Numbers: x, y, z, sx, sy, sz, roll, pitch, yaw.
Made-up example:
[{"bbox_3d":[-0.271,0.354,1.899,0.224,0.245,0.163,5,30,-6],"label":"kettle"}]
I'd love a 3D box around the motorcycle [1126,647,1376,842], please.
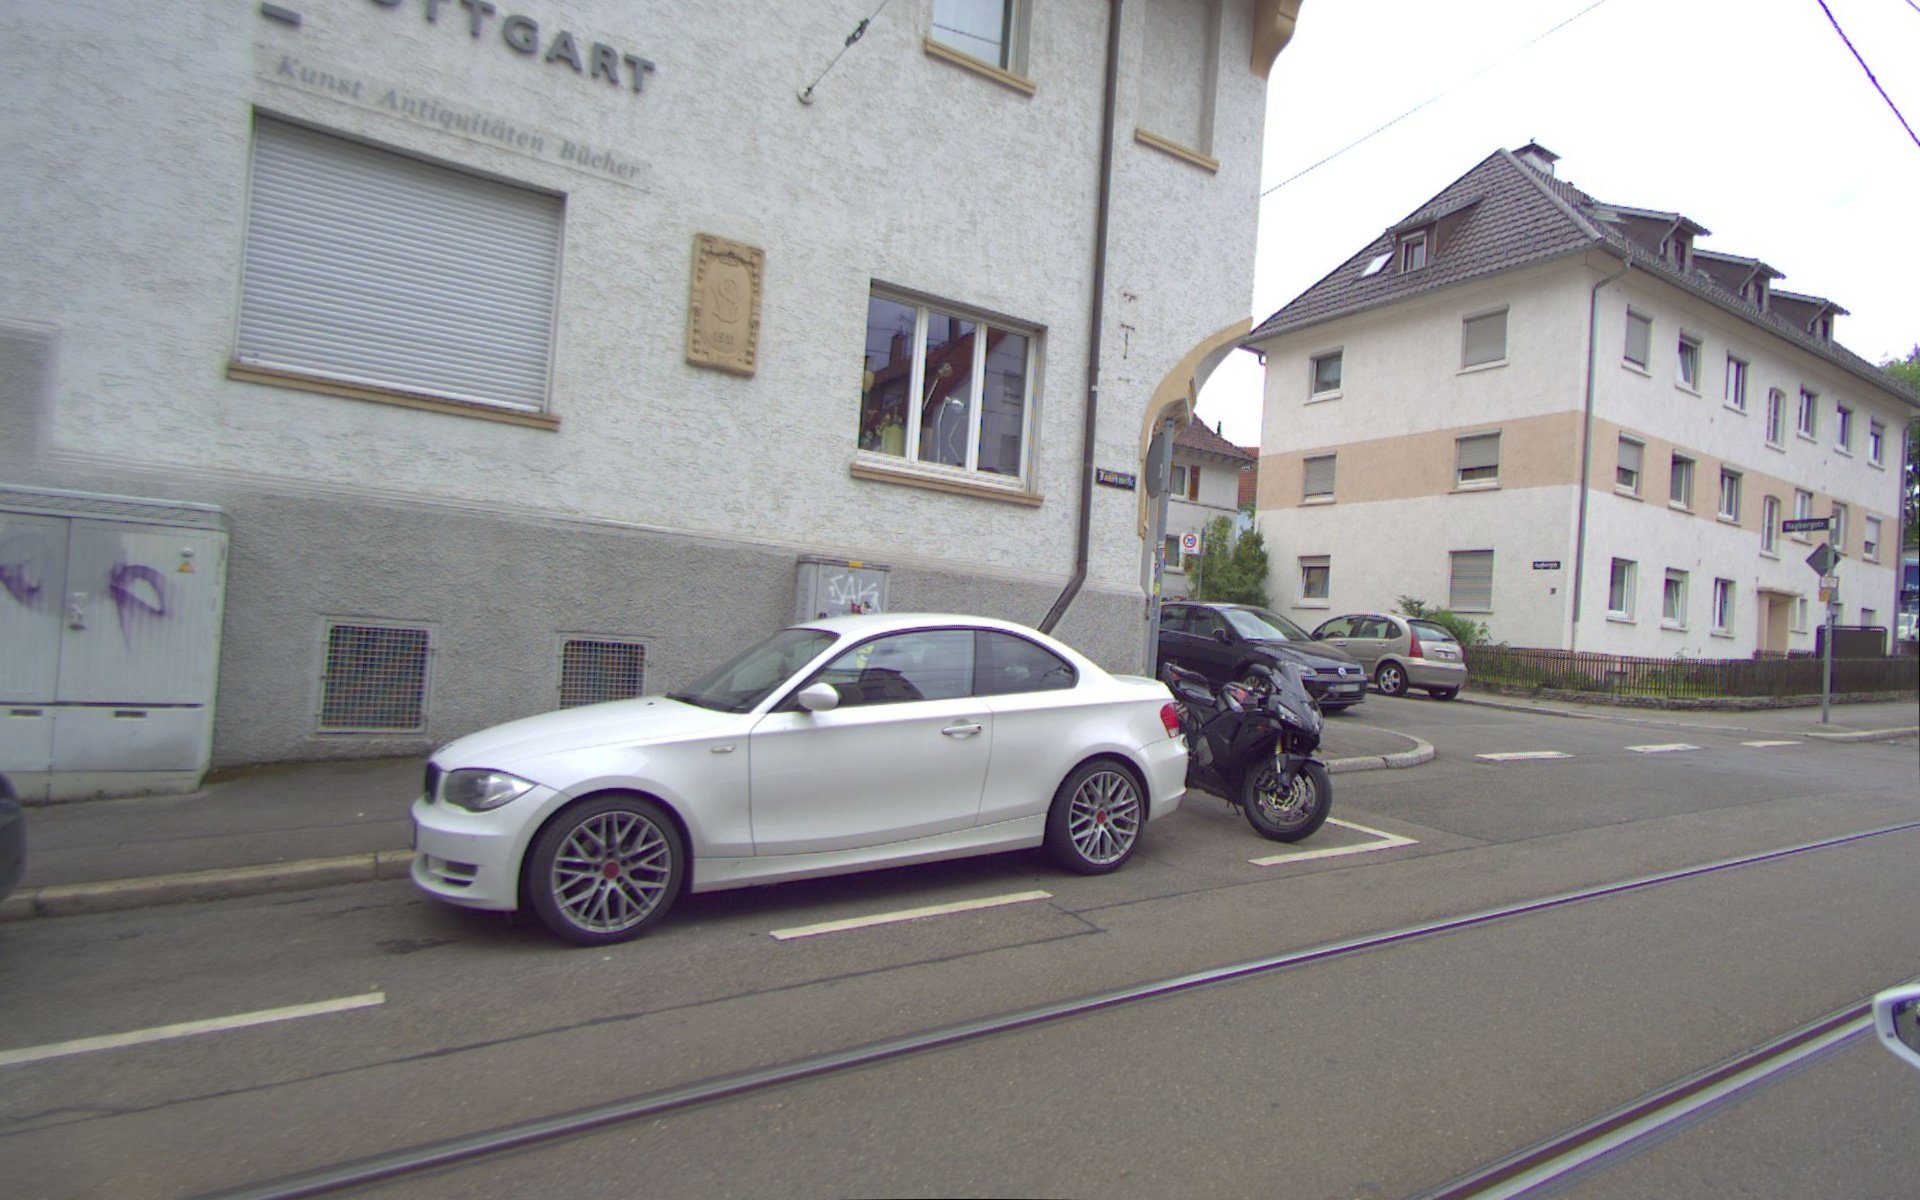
[{"bbox_3d":[2.008,0.943,7.318,0.753,1.149,2.108,1,-1,-16],"label":"motorcycle"}]

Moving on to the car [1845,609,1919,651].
[{"bbox_3d":[35.743,1.155,38.429,3.842,1.514,1.675,2,0,-30],"label":"car"}]

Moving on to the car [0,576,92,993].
[{"bbox_3d":[-4.823,0.633,3.045,2.987,1.488,1.689,2,-2,-30],"label":"car"}]

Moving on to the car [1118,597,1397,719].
[{"bbox_3d":[4.298,0.773,15.135,1.732,1.483,3.971,2,0,-28],"label":"car"}]

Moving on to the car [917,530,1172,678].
[{"bbox_3d":[1.442,0.033,20.584,2.164,2.565,6.167,2,0,-28],"label":"car"}]

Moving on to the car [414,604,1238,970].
[{"bbox_3d":[-0.643,0.767,5.651,4.239,1.375,1.772,2,0,-29],"label":"car"}]

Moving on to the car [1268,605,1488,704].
[{"bbox_3d":[7.941,0.993,19.374,1.757,1.511,3.498,7,-2,-29],"label":"car"}]
